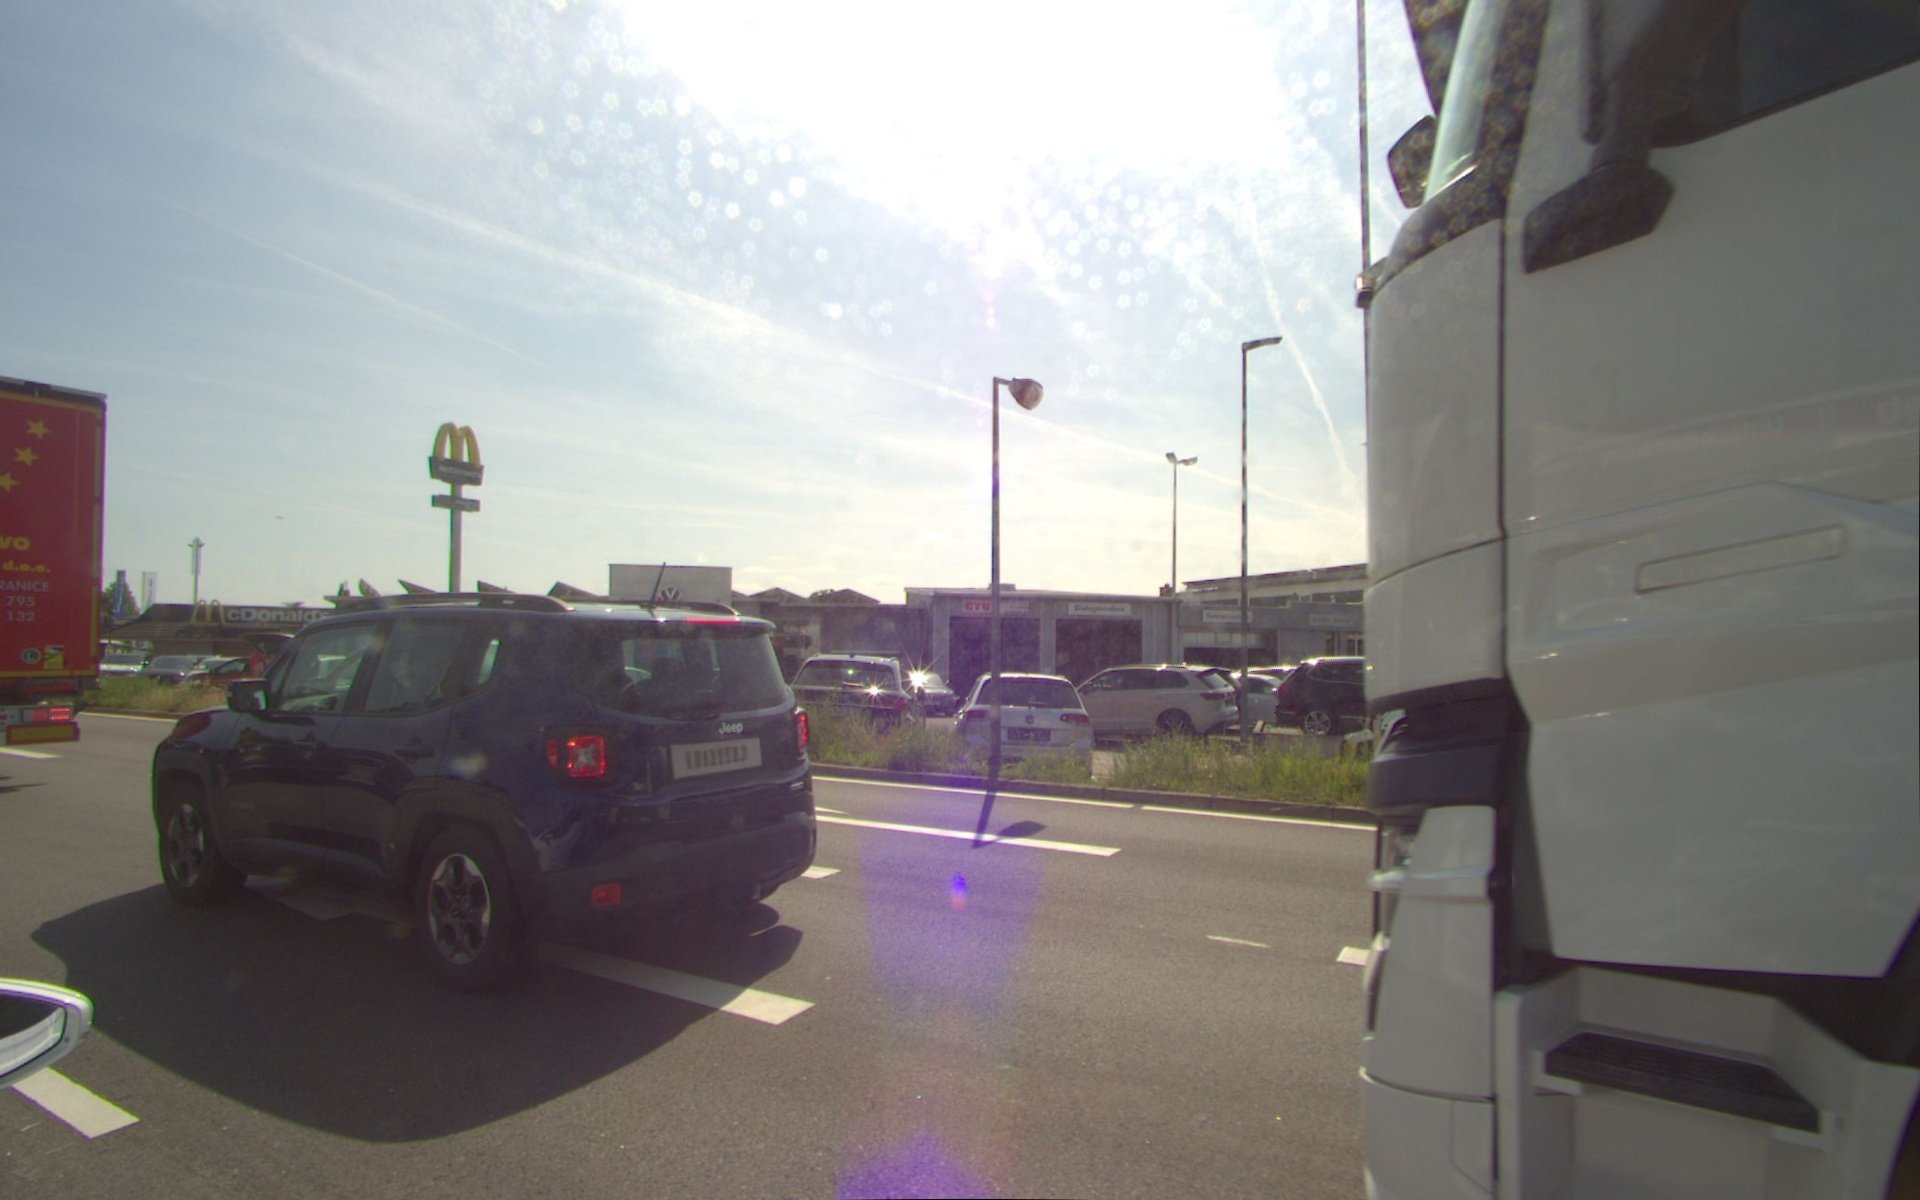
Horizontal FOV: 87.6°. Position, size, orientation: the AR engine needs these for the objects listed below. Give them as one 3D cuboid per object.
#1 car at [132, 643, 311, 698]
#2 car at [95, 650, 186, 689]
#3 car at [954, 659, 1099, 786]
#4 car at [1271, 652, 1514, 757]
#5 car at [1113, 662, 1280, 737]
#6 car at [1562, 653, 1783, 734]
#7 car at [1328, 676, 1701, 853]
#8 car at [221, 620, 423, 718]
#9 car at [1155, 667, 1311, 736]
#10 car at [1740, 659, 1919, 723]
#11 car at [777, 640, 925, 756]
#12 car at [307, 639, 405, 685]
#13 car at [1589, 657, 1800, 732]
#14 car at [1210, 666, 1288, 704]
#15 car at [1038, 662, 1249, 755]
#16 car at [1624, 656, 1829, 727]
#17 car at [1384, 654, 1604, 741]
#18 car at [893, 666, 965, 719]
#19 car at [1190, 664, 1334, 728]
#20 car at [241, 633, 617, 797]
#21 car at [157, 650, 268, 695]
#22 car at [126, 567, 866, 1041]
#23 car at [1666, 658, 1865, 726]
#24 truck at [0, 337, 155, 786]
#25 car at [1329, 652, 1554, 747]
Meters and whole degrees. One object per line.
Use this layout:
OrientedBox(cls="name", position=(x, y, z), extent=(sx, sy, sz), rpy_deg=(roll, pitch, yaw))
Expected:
OrientedBox(cls="car", position=(-22.226, 2.115, 30.248), extent=(3.922, 1.550, 2.001), rpy_deg=(1, -2, 2))
OrientedBox(cls="car", position=(-35.259, 2.962, 43.221), extent=(1.709, 1.555, 4.030), rpy_deg=(1, -2, -19))
OrientedBox(cls="car", position=(0.776, 1.579, 13.916), extent=(1.705, 1.420, 4.040), rpy_deg=(1, -2, 0))
OrientedBox(cls="car", position=(8.566, 1.986, 19.935), extent=(4.175, 1.812, 1.973), rpy_deg=(-1, -3, 34))
OrientedBox(cls="car", position=(5.743, 2.361, 24.408), extent=(3.666, 1.601, 1.599), rpy_deg=(-1, -3, 31))
OrientedBox(cls="car", position=(17.925, 2.285, 25.356), extent=(1.961, 1.812, 4.202), rpy_deg=(3, -3, -37))
OrientedBox(cls="car", position=(5.755, 1.633, 11.126), extent=(1.705, 1.420, 4.350), rpy_deg=(1, -2, 0))
OrientedBox(cls="car", position=(-13.778, 1.462, 21.918), extent=(1.669, 1.945, 3.848), rpy_deg=(0, -2, 6))
OrientedBox(cls="car", position=(7.159, 2.617, 26.352), extent=(3.666, 1.601, 1.599), rpy_deg=(-1, -3, 31))
OrientedBox(cls="car", position=(27.673, 2.826, 31.801), extent=(1.882, 1.777, 4.209), rpy_deg=(2, -3, -32))
OrientedBox(cls="car", position=(-1.421, 1.311, 14.460), extent=(1.705, 1.420, 4.040), rpy_deg=(1, -2, 0))
OrientedBox(cls="car", position=(-21.663, 2.199, 36.114), extent=(1.964, 1.550, 3.996), rpy_deg=(1, -3, -15))
OrientedBox(cls="car", position=(19.702, 2.479, 27.041), extent=(1.883, 1.777, 4.208), rpy_deg=(2, -3, -32))
OrientedBox(cls="car", position=(10.930, 3.202, 38.090), extent=(1.575, 1.269, 3.722), rpy_deg=(1, -3, -6))
OrientedBox(cls="car", position=(4.013, 2.291, 22.032), extent=(4.172, 1.777, 1.899), rpy_deg=(-1, -3, 33))
OrientedBox(cls="car", position=(21.446, 2.495, 28.191), extent=(1.883, 1.777, 4.208), rpy_deg=(2, -3, -32))
OrientedBox(cls="car", position=(12.543, 2.219, 23.749), extent=(1.961, 1.812, 4.202), rpy_deg=(3, -3, -37))
OrientedBox(cls="car", position=(-1.089, 3.017, 33.239), extent=(1.706, 1.555, 4.036), rpy_deg=(1, -2, -11))
OrientedBox(cls="car", position=(8.565, 2.673, 28.463), extent=(3.666, 1.601, 1.599), rpy_deg=(-1, -3, 31))
OrientedBox(cls="car", position=(-5.765, 1.101, 10.814), extent=(3.937, 1.491, 1.658), rpy_deg=(-1, -2, 28))
OrientedBox(cls="car", position=(-27.881, 2.675, 37.511), extent=(1.706, 1.555, 4.036), rpy_deg=(1, -2, -11))
OrientedBox(cls="car", position=(-2.625, 0.783, 5.448), extent=(3.943, 1.706, 1.816), rpy_deg=(-1, -1, 32))
OrientedBox(cls="car", position=(23.585, 2.642, 29.486), extent=(1.883, 1.777, 4.208), rpy_deg=(2, -3, -32))
OrientedBox(cls="truck", position=(-16.392, -0.285, 13.631), extent=(16.340, 4.323, 2.954), rpy_deg=(-1, -2, 31))
OrientedBox(cls="car", position=(10.431, 2.077, 21.780), extent=(4.175, 1.812, 1.973), rpy_deg=(-1, -3, 34))
